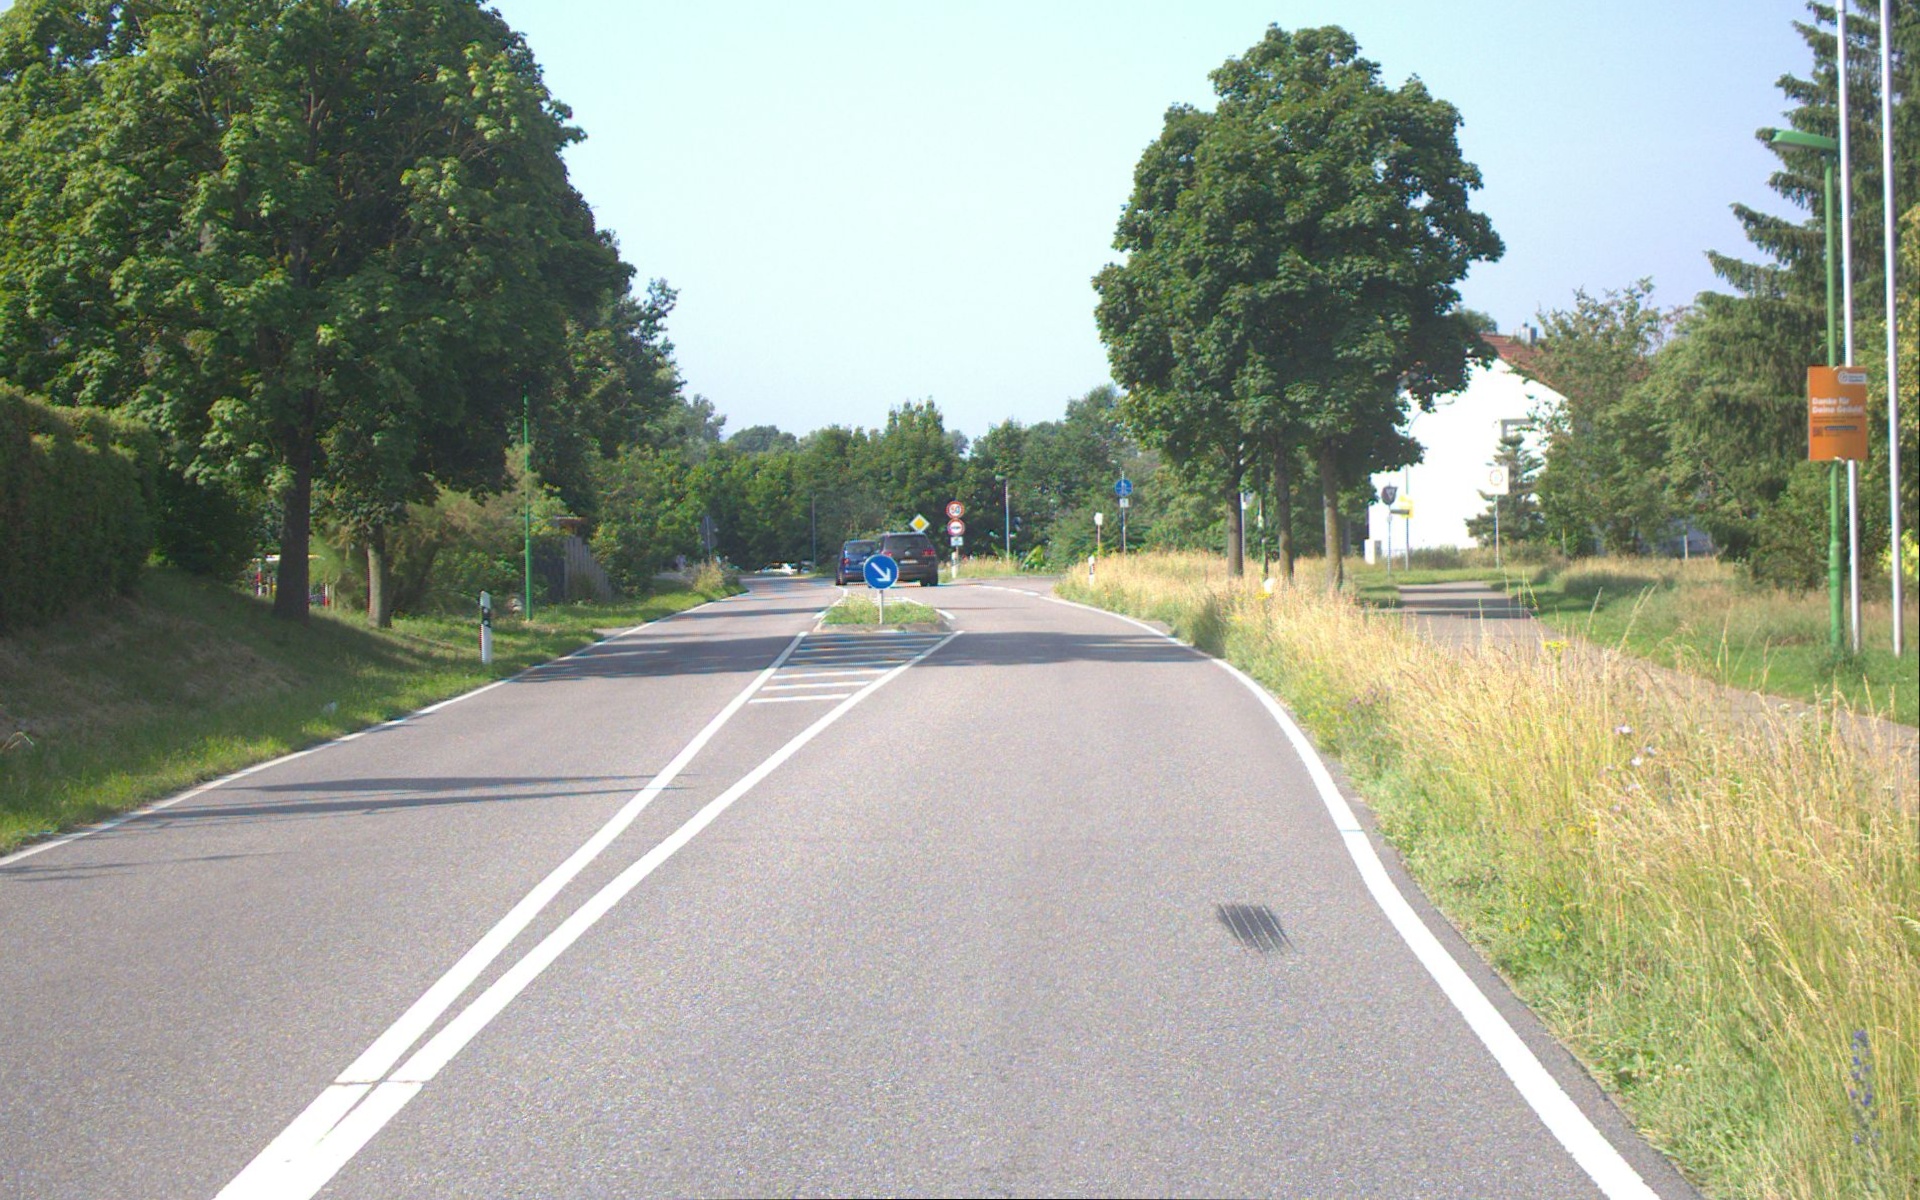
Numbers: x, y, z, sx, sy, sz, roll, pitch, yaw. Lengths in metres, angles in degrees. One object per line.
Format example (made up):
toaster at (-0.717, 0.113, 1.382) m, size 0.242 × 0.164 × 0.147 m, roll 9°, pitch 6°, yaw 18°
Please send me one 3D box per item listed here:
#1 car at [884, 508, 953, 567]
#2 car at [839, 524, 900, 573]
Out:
car at (-1.304, -1.933, 105.786) m, size 1.925 × 1.765 × 4.001 m, roll -1°, pitch 1°, yaw -3°
car at (-3.344, -1.905, 126.213) m, size 2.004 × 1.765 × 4.001 m, roll -1°, pitch 1°, yaw -5°
